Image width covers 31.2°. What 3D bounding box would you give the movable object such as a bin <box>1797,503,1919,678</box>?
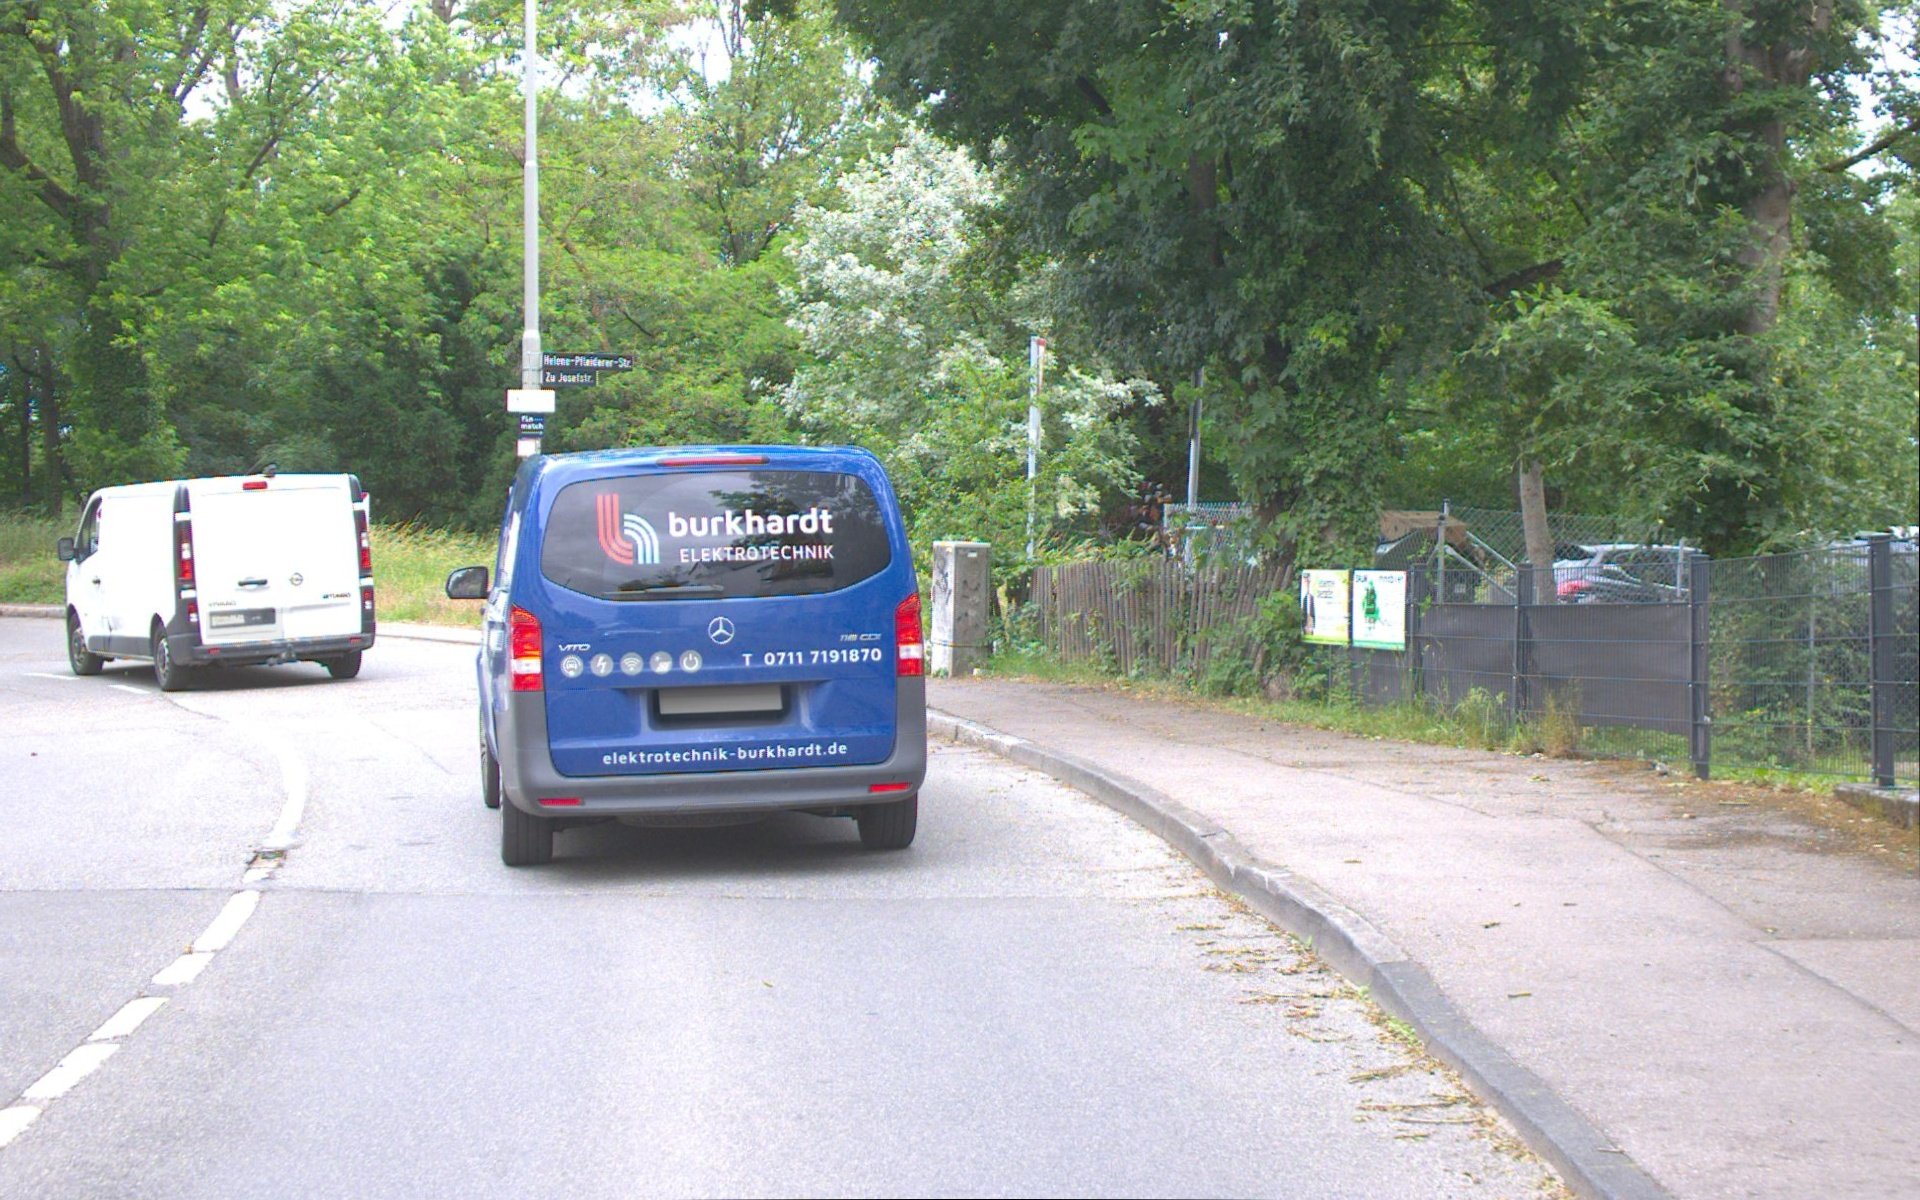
[{"bbox_3d":[8.697,-0.111,31.477,1.421,1.542,1.676,0,2,-12],"label":"movable object such as a bin"}]

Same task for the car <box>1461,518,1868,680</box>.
[{"bbox_3d":[7.362,-0.015,36.000,3.658,1.393,1.832,4,0,-17],"label":"car"}]

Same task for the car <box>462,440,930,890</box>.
[{"bbox_3d":[-1.368,0.216,16.603,1.913,1.831,4.295,-2,2,-7],"label":"car"}]

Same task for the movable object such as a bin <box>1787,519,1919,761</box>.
[{"bbox_3d":[7.848,0.268,26.675,2.102,1.781,2.209,0,2,-8],"label":"movable object such as a bin"}]

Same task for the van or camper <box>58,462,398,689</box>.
[{"bbox_3d":[-7.153,-0.270,33.191,2.019,1.950,4.897,-3,2,-26],"label":"van or camper"}]
